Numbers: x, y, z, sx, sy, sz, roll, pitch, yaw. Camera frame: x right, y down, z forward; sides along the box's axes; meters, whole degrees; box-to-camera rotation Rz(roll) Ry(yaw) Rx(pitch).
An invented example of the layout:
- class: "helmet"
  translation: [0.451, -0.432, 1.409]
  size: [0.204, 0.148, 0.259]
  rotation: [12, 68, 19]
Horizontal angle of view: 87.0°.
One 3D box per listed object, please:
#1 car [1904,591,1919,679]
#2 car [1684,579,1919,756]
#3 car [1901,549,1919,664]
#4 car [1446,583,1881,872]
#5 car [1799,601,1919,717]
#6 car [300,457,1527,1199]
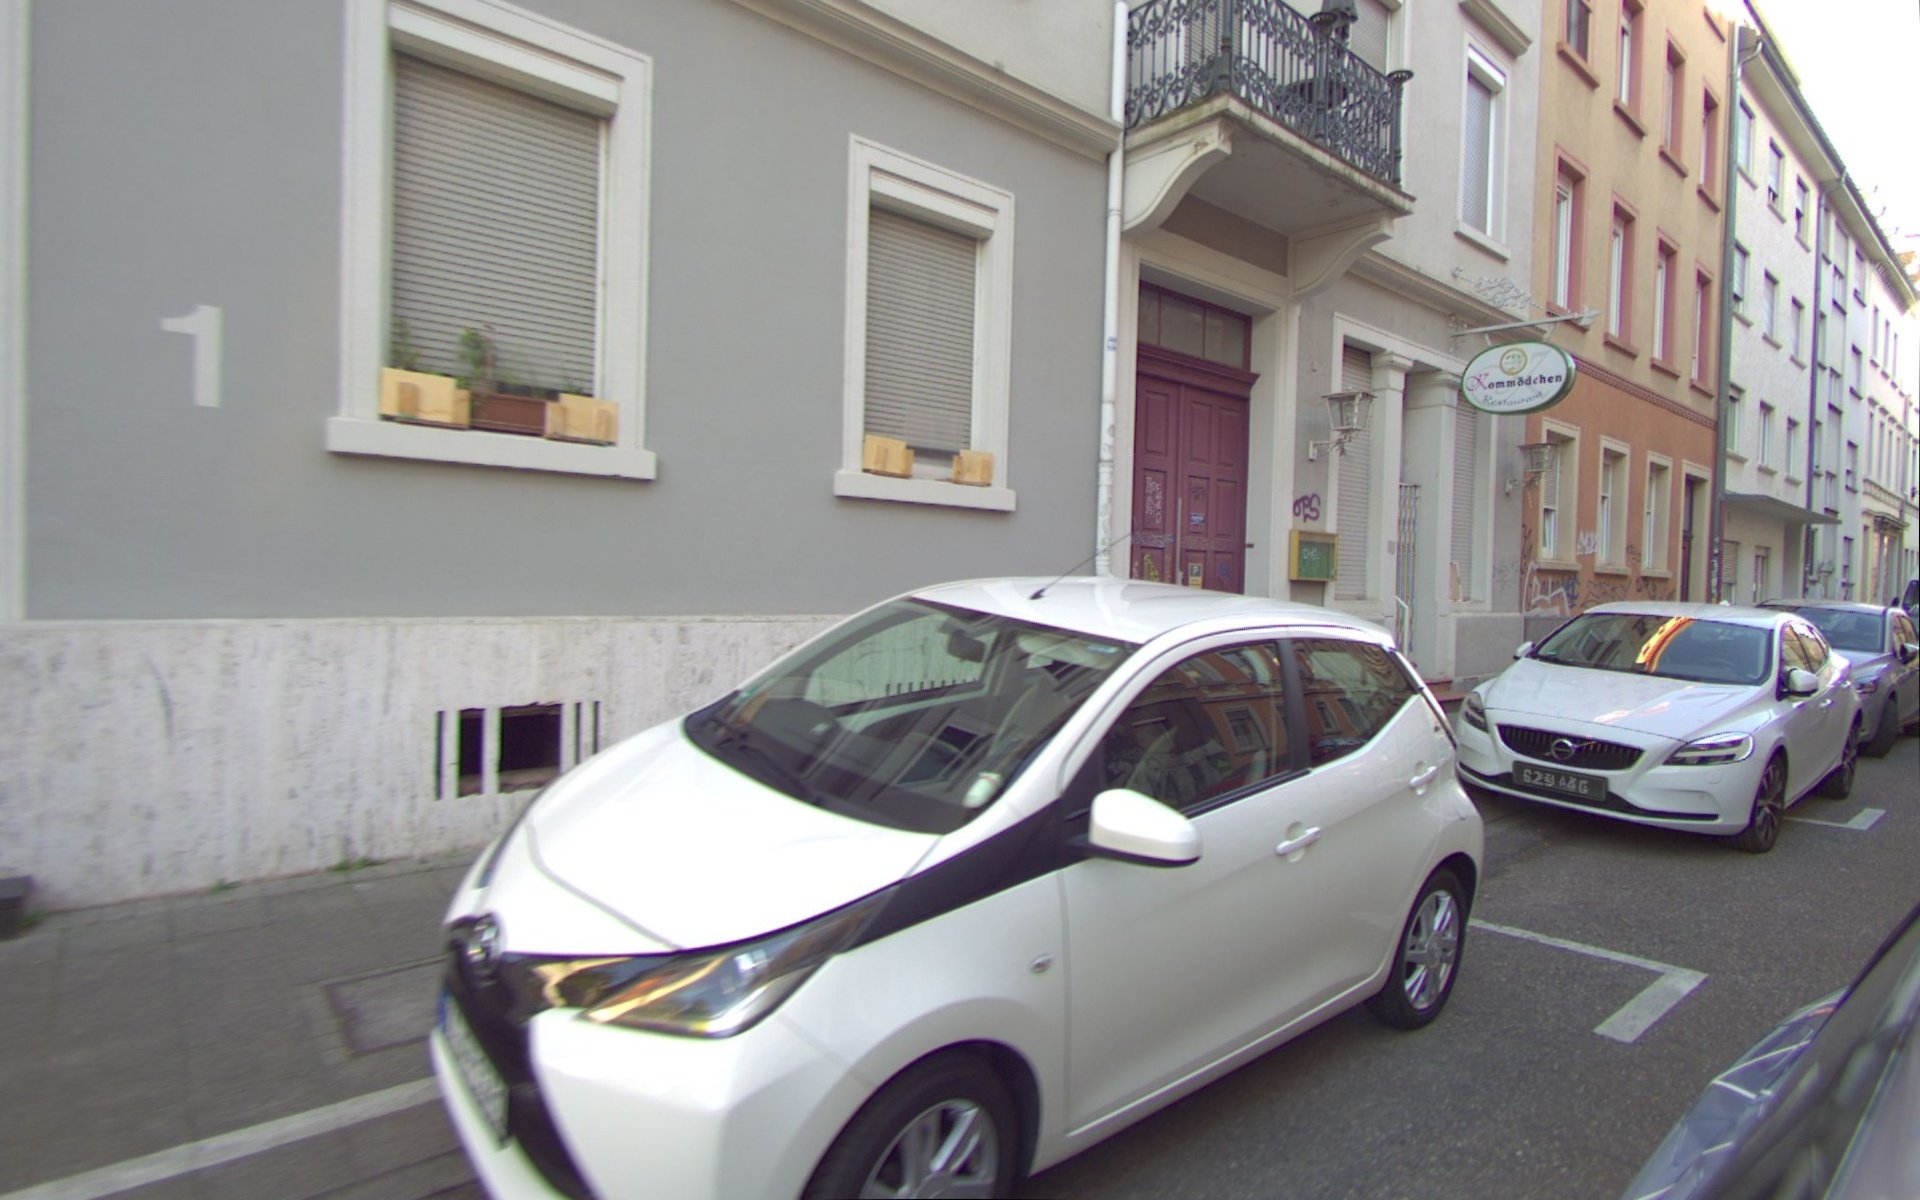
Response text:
- class: "car"
  translation: [19.064, 0.640, 19.057]
  size: [3.795, 1.579, 1.681]
  rotation: [0, 0, -44]
- class: "car"
  translation: [9.692, 0.613, 11.200]
  size: [4.114, 1.617, 1.683]
  rotation: [0, 0, -38]
- class: "car"
  translation: [24.034, 0.154, 23.713]
  size: [5.913, 2.545, 2.050]
  rotation: [0, 0, -39]
- class: "car"
  translation: [5.270, 0.668, 7.355]
  size: [4.117, 1.529, 1.682]
  rotation: [0, 0, -42]
- class: "car"
  translation: [13.226, 0.725, 14.066]
  size: [4.417, 1.412, 1.770]
  rotation: [0, 0, -42]
- class: "car"
  translation: [0.246, 0.608, 3.214]
  size: [3.723, 1.607, 1.638]
  rotation: [0, 0, -42]
